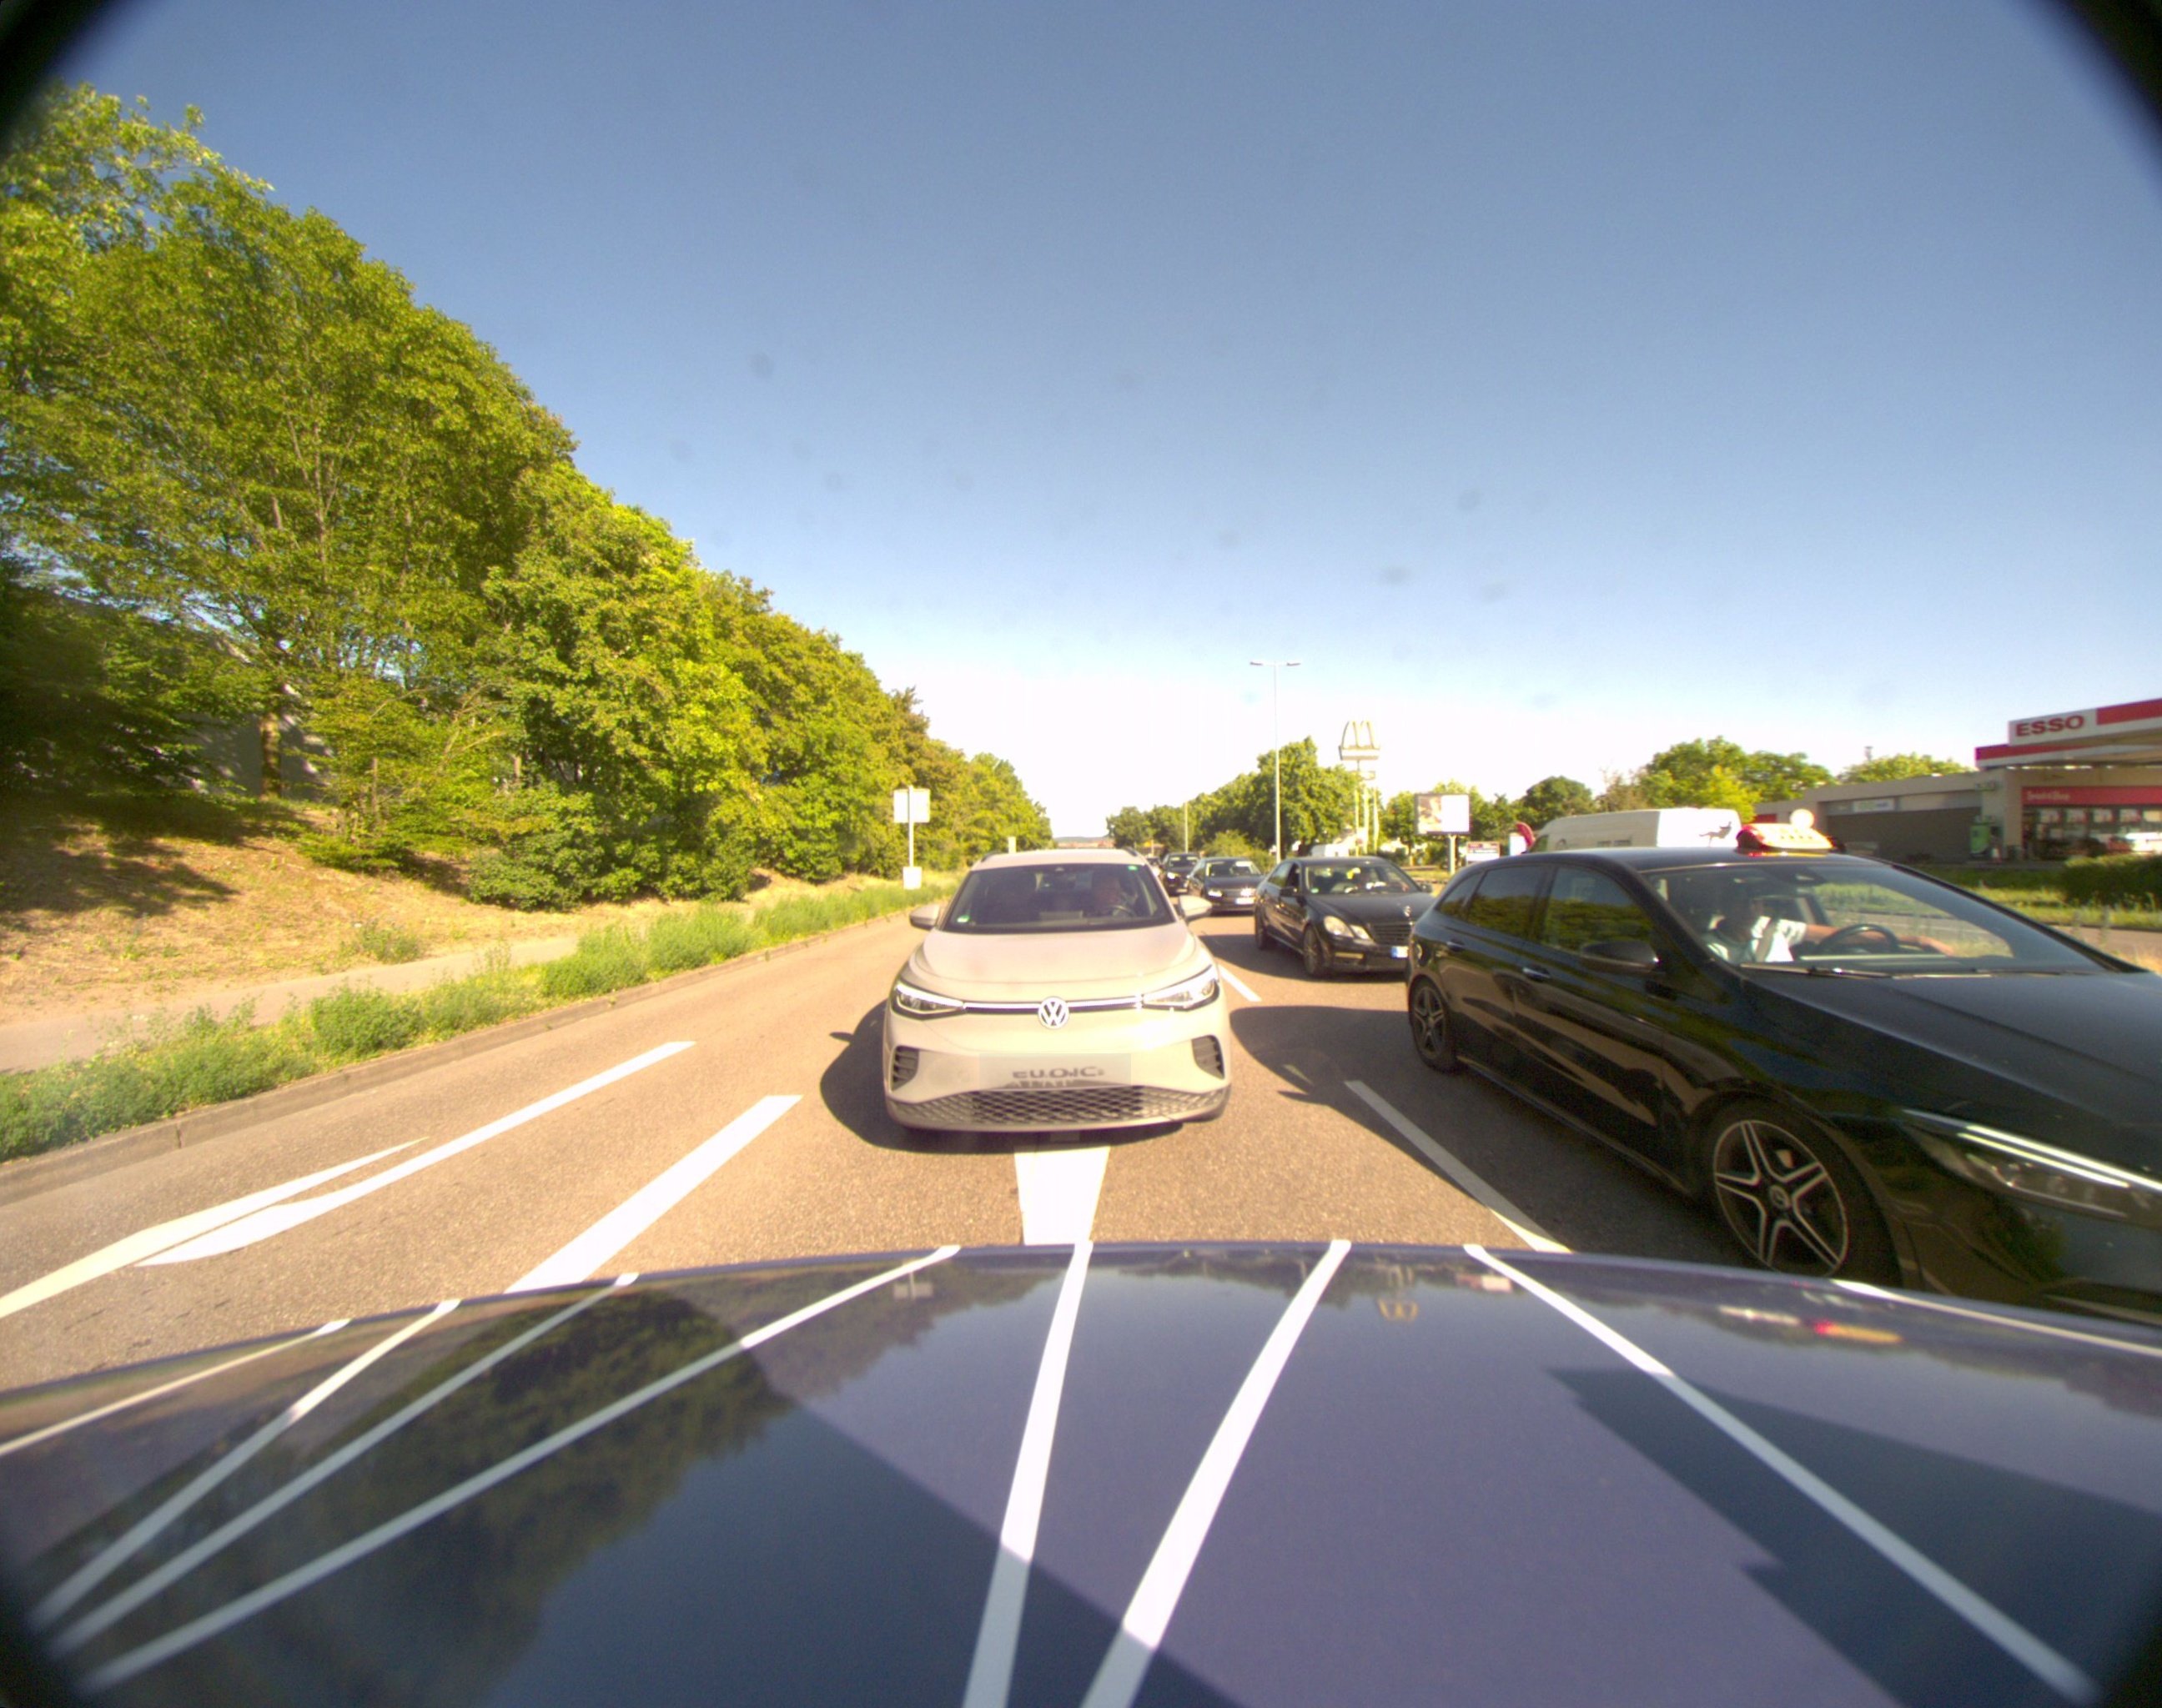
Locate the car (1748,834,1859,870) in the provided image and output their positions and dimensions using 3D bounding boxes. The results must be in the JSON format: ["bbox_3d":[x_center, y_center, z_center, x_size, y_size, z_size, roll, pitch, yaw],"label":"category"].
[{"bbox_3d":[37.706,-0.101,39.809,1.998,1.759,4.118,-2,0,2],"label":"car"}]

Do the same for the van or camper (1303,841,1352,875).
[{"bbox_3d":[20.187,0.320,62.472,1.999,2.635,5.956,1,0,0],"label":"van or camper"}]

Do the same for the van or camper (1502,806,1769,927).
[{"bbox_3d":[13.719,0.260,19.611,2.183,2.557,6.755,-1,0,3],"label":"van or camper"}]

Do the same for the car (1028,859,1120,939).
[{"bbox_3d":[-0.116,0.895,16.798,1.765,1.503,3.760,-2,0,1],"label":"car"}]

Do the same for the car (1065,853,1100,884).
[{"bbox_3d":[0.082,0.743,40.963,1.765,1.503,3.760,-2,0,1],"label":"car"}]

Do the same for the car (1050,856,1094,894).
[{"bbox_3d":[-0.345,0.884,33.330,1.765,1.503,3.760,-2,0,1],"label":"car"}]

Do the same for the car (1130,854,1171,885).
[{"bbox_3d":[3.765,0.797,41.686,1.862,1.578,4.403,-1,0,1],"label":"car"}]

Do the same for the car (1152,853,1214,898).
[{"bbox_3d":[3.894,0.772,29.584,1.862,1.578,4.403,-1,0,1],"label":"car"}]

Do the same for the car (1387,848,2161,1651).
[{"bbox_3d":[3.152,0.804,3.586,1.804,1.616,4.188,-1,0,2],"label":"car"}]

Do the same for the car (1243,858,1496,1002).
[{"bbox_3d":[3.632,0.846,10.519,1.862,1.515,4.403,-1,0,1],"label":"car"}]

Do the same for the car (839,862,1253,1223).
[{"bbox_3d":[-0.135,0.895,5.481,1.871,1.588,3.932,-2,0,1],"label":"car"}]

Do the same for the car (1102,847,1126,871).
[{"bbox_3d":[3.369,0.490,78.374,2.289,2.274,5.381,-1,0,1],"label":"car"}]

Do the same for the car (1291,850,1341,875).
[{"bbox_3d":[16.658,0.609,54.048,1.999,1.643,4.613,1,0,-1],"label":"car"}]

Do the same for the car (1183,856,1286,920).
[{"bbox_3d":[3.943,0.824,20.254,1.862,1.472,4.403,-1,0,1],"label":"car"}]
